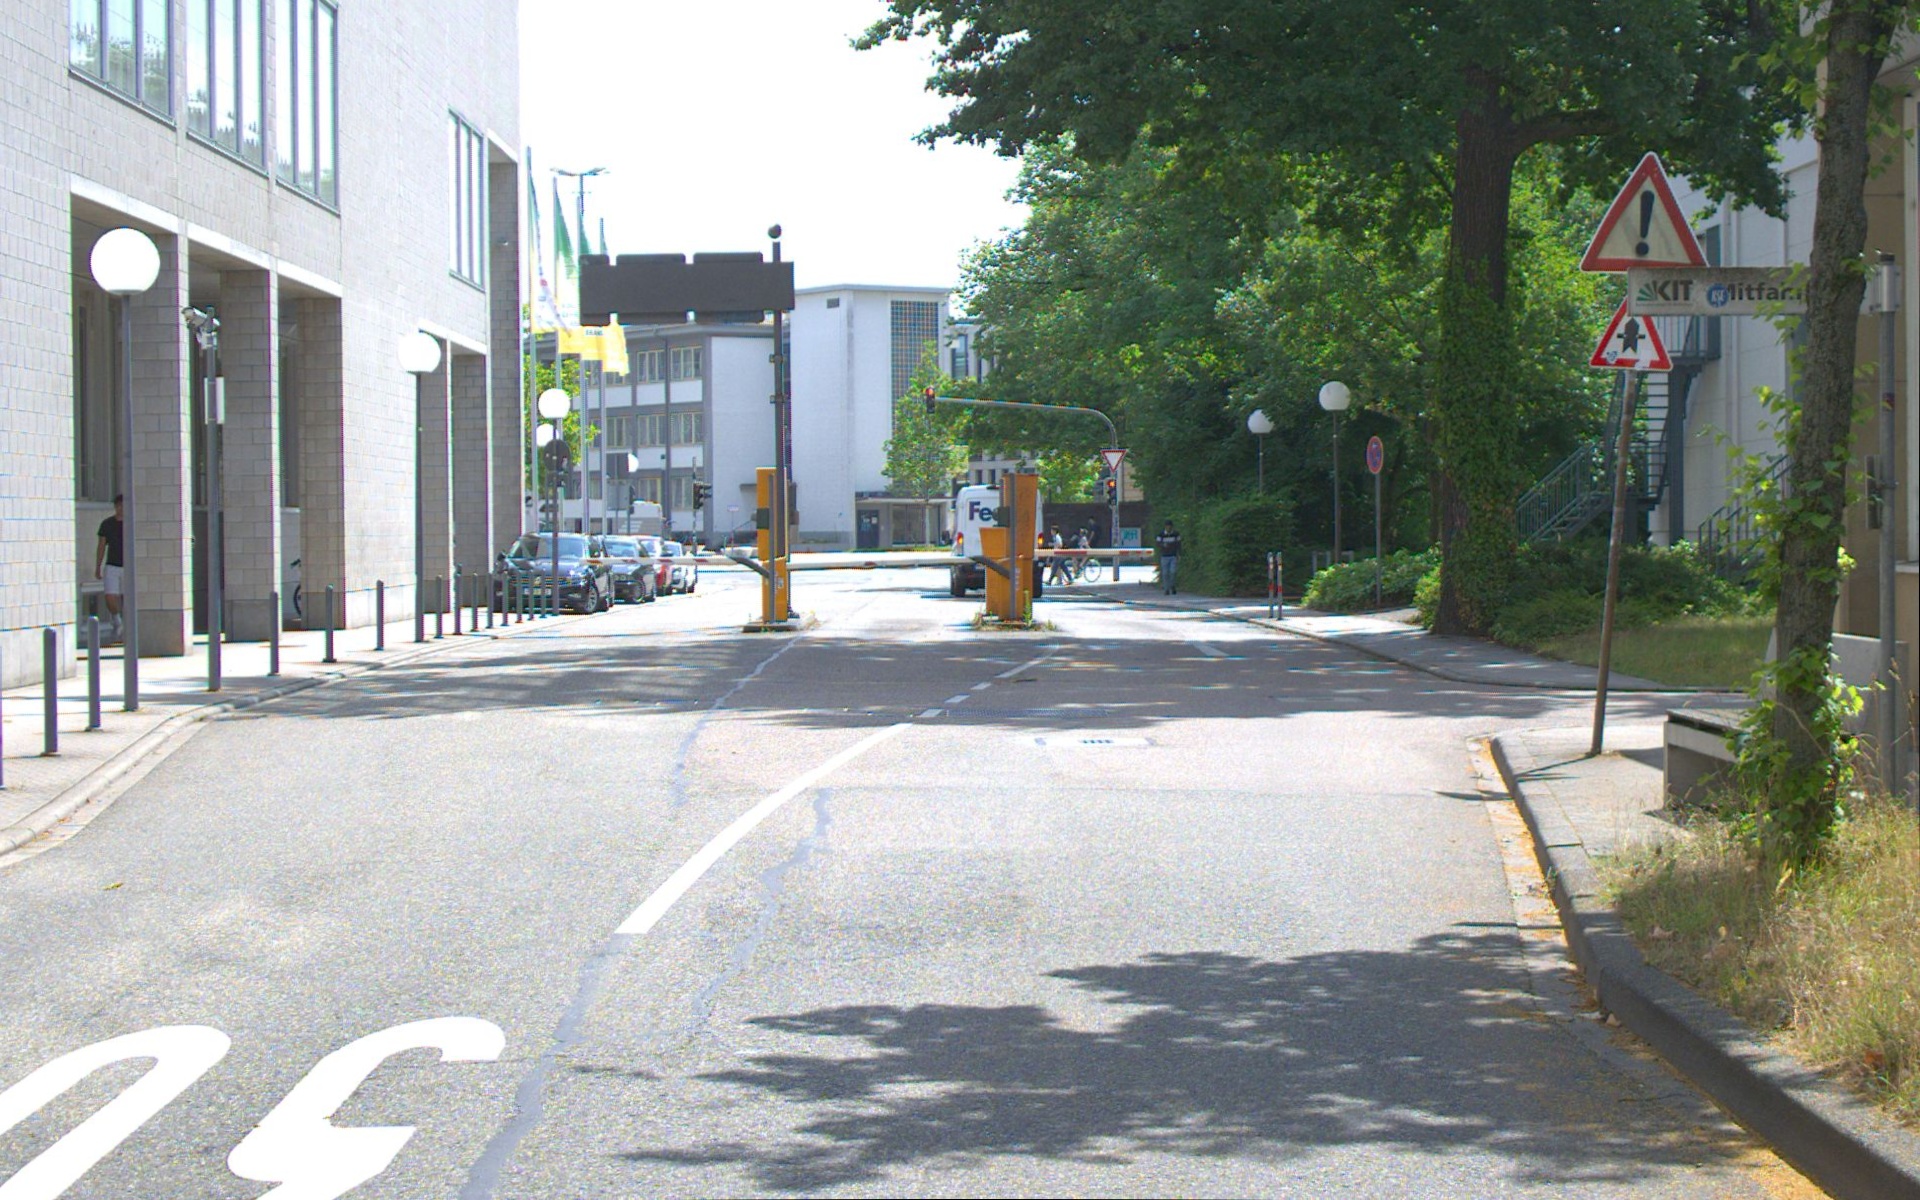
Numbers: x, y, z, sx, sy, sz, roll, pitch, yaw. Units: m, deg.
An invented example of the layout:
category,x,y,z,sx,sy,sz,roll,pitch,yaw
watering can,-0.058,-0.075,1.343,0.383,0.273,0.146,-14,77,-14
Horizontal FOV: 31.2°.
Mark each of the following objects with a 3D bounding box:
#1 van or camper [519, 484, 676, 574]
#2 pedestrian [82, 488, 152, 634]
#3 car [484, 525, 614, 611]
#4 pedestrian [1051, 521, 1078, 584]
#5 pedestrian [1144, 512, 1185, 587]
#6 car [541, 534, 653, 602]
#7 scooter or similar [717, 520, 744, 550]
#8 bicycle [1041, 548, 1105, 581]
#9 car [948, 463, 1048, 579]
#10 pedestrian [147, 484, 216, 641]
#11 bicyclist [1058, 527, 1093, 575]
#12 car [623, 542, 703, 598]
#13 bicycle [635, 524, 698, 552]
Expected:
category,x,y,z,sx,sy,sz,roll,pitch,yaw
van or camper,-13.628,-2.658,129.533,5.710,3.248,2.356,-1,1,-3
pedestrian,-10.852,-0.507,44.282,0.731,1.874,0.720,0,1,0
car,-7.503,-0.614,63.102,1.859,1.462,4.719,1,1,-1
pedestrian,3.140,-1.432,103.506,0.767,1.853,0.722,-1,1,1
pedestrian,4.578,-1.131,76.930,0.739,1.669,1.257,-1,1,-4
car,-7.899,-0.723,75.133,1.859,1.373,5.016,1,1,0
scooter or similar,-9.107,-2.591,136.169,0.716,1.174,2.726,-1,1,-11
bicycle,3.514,-1.107,106.754,2.101,0.992,0.679,-1,1,-40
car,0.851,-1.848,79.996,2.095,2.558,5.603,-1,2,-1
pedestrian,-10.028,-0.490,44.310,0.699,2.007,0.830,0,1,0
bicyclist,3.591,-1.528,106.807,0.891,1.490,0.664,-1,1,-40
car,-7.837,-0.815,91.023,1.676,1.390,4.662,1,1,0
bicycle,-14.406,-3.059,168.882,2.956,1.359,1.117,-1,1,-38
